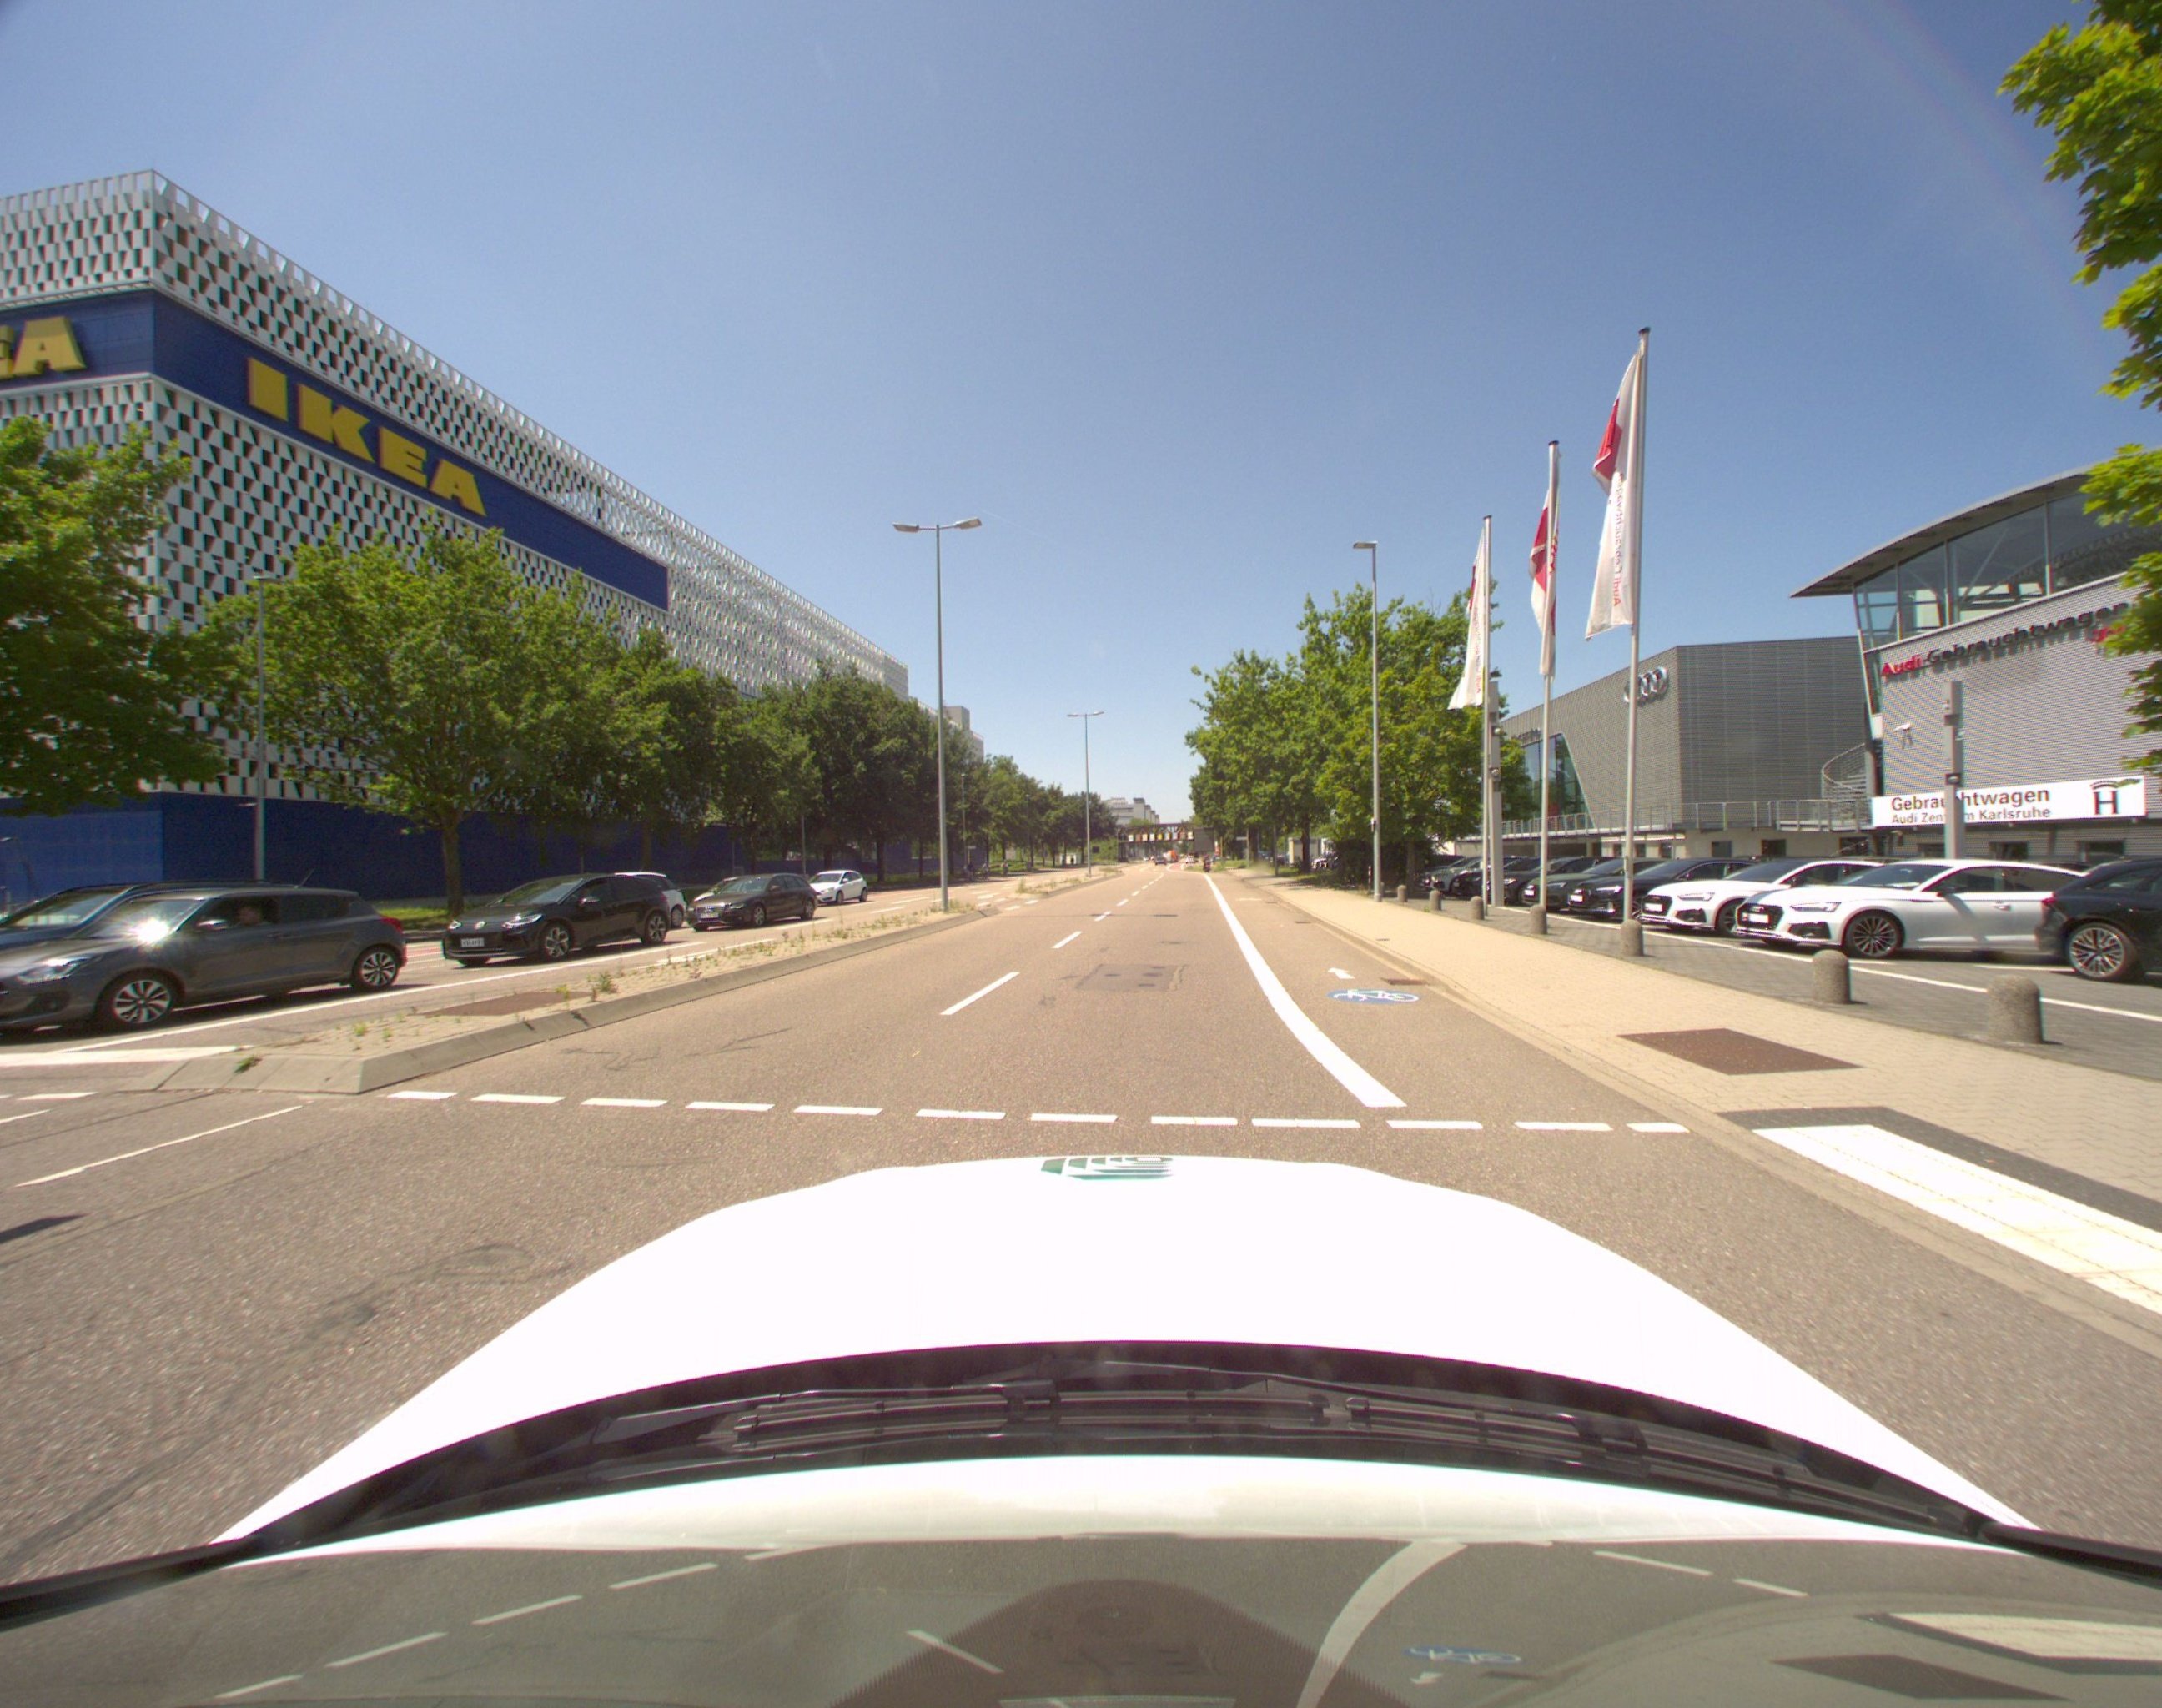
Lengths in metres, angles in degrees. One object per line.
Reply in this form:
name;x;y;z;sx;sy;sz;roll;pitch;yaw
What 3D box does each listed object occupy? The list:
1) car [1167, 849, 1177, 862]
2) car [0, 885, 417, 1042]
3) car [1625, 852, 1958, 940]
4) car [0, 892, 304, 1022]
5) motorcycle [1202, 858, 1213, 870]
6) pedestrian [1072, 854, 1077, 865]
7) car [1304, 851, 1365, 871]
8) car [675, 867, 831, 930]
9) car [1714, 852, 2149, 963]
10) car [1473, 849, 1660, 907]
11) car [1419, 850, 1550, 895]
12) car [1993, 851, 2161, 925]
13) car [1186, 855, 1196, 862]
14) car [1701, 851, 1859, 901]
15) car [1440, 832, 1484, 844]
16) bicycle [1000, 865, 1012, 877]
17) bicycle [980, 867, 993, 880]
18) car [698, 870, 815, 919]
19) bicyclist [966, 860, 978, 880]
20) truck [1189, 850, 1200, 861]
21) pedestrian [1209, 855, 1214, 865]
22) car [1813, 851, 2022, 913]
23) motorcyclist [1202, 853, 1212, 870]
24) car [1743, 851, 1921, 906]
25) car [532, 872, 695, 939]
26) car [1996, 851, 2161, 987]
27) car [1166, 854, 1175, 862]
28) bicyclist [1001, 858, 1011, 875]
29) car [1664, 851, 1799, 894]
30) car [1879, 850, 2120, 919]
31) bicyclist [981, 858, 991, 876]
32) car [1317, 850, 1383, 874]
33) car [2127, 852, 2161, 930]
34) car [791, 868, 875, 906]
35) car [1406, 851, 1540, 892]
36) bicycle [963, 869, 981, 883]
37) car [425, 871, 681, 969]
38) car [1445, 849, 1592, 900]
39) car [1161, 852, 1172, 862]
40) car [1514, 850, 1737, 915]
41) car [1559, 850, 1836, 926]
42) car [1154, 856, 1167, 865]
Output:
car;20.760;0.266;185.741;2.062;2.854;6.778;-2;0;7
car;-10.497;1.157;9.780;1.634;1.389;3.724;-3;-1;8
car;12.266;0.672;14.332;4.077;1.348;1.873;1;0;7
car;-13.523;1.326;11.122;1.651;1.424;4.046;-2;-1;7
motorcycle;11.576;0.875;74.705;0.714;1.105;1.829;0;0;-2
pedestrian;-1.152;0.966;142.898;0.739;1.884;0.579;-1;-1;8
car;19.548;0.564;62.988;4.198;1.341;1.921;3;0;7
car;-8.951;1.161;22.752;1.716;1.446;4.733;-3;-1;10
car;11.924;0.695;11.720;4.073;1.364;1.878;1;0;7
car;13.381;0.635;22.663;4.078;1.453;1.873;1;0;7
car;13.873;0.610;28.151;3.661;1.453;1.838;1;0;7
car;23.737;0.765;18.475;3.961;1.573;1.637;1;0;7
car;20.814;0.828;154.116;1.914;1.420;4.008;-1;0;7
car;25.052;0.754;29.323;3.964;1.654;1.854;1;0;7
car;39.095;-1.612;83.662;3.709;1.130;1.685;0;0;3
bicycle;-7.220;1.639;78.829;0.625;1.159;2.121;-3;-1;7
bicycle;-8.739;1.811;75.235;0.633;1.134;1.976;-1;0;10
car;-11.301;1.352;28.760;1.737;1.422;4.632;-3;0;7
bicyclist;-9.447;1.354;70.358;0.740;1.685;0.955;-1;0;10
truck;25.472;0.420;183.157;2.445;2.410;7.149;0;0;8
pedestrian;19.169;0.860;119.383;0.620;1.374;0.565;-1;0;6
car;24.164;0.769;23.671;3.964;1.654;1.854;1;0;7
motorcyclist;11.576;0.671;74.721;0.717;1.529;0.870;0;-1;-2
car;24.446;0.758;26.644;3.964;1.654;1.854;1;0;7
car;-12.388;1.314;21.888;1.717;1.544;3.923;-2;-1;7
car;12.143;0.697;7.891;1.851;1.420;4.675;1;0;9
car;19.296;0.849;175.689;1.885;1.816;4.008;-1;0;7
bicyclist;-7.260;1.210;78.728;0.630;1.629;1.046;-3;-1;7
car;25.438;0.704;31.961;3.877;1.584;1.644;1;0;7
car;23.868;0.755;21.316;3.964;1.654;1.854;1;0;7
bicyclist;-8.761;1.208;75.195;0.633;1.582;0.887;-1;-1;10
car;18.981;0.577;57.549;4.108;1.380;1.783;4;0;7
car;23.563;0.785;15.994;3.627;1.580;1.646;1;0;7
car;-10.532;1.365;34.915;1.717;1.446;4.460;-3;-1;7
car;14.735;0.634;30.814;4.208;1.401;1.820;1;0;7
bicycle;-9.419;1.879;70.433;0.734;1.125;2.441;-1;0;10
car;-9.916;1.162;15.774;1.717;1.505;4.253;-3;-1;8
car;13.611;0.620;25.518;3.661;1.453;1.838;1;0;7
car;16.590;0.600;157.974;1.983;2.013;4.008;0;0;7
car;12.996;0.654;19.676;4.078;1.405;1.873;1;0;7
car;12.584;0.656;16.885;4.203;1.390;1.873;1;0;7
car;13.121;1.048;134.462;1.890;1.376;4.239;-2;0;7
